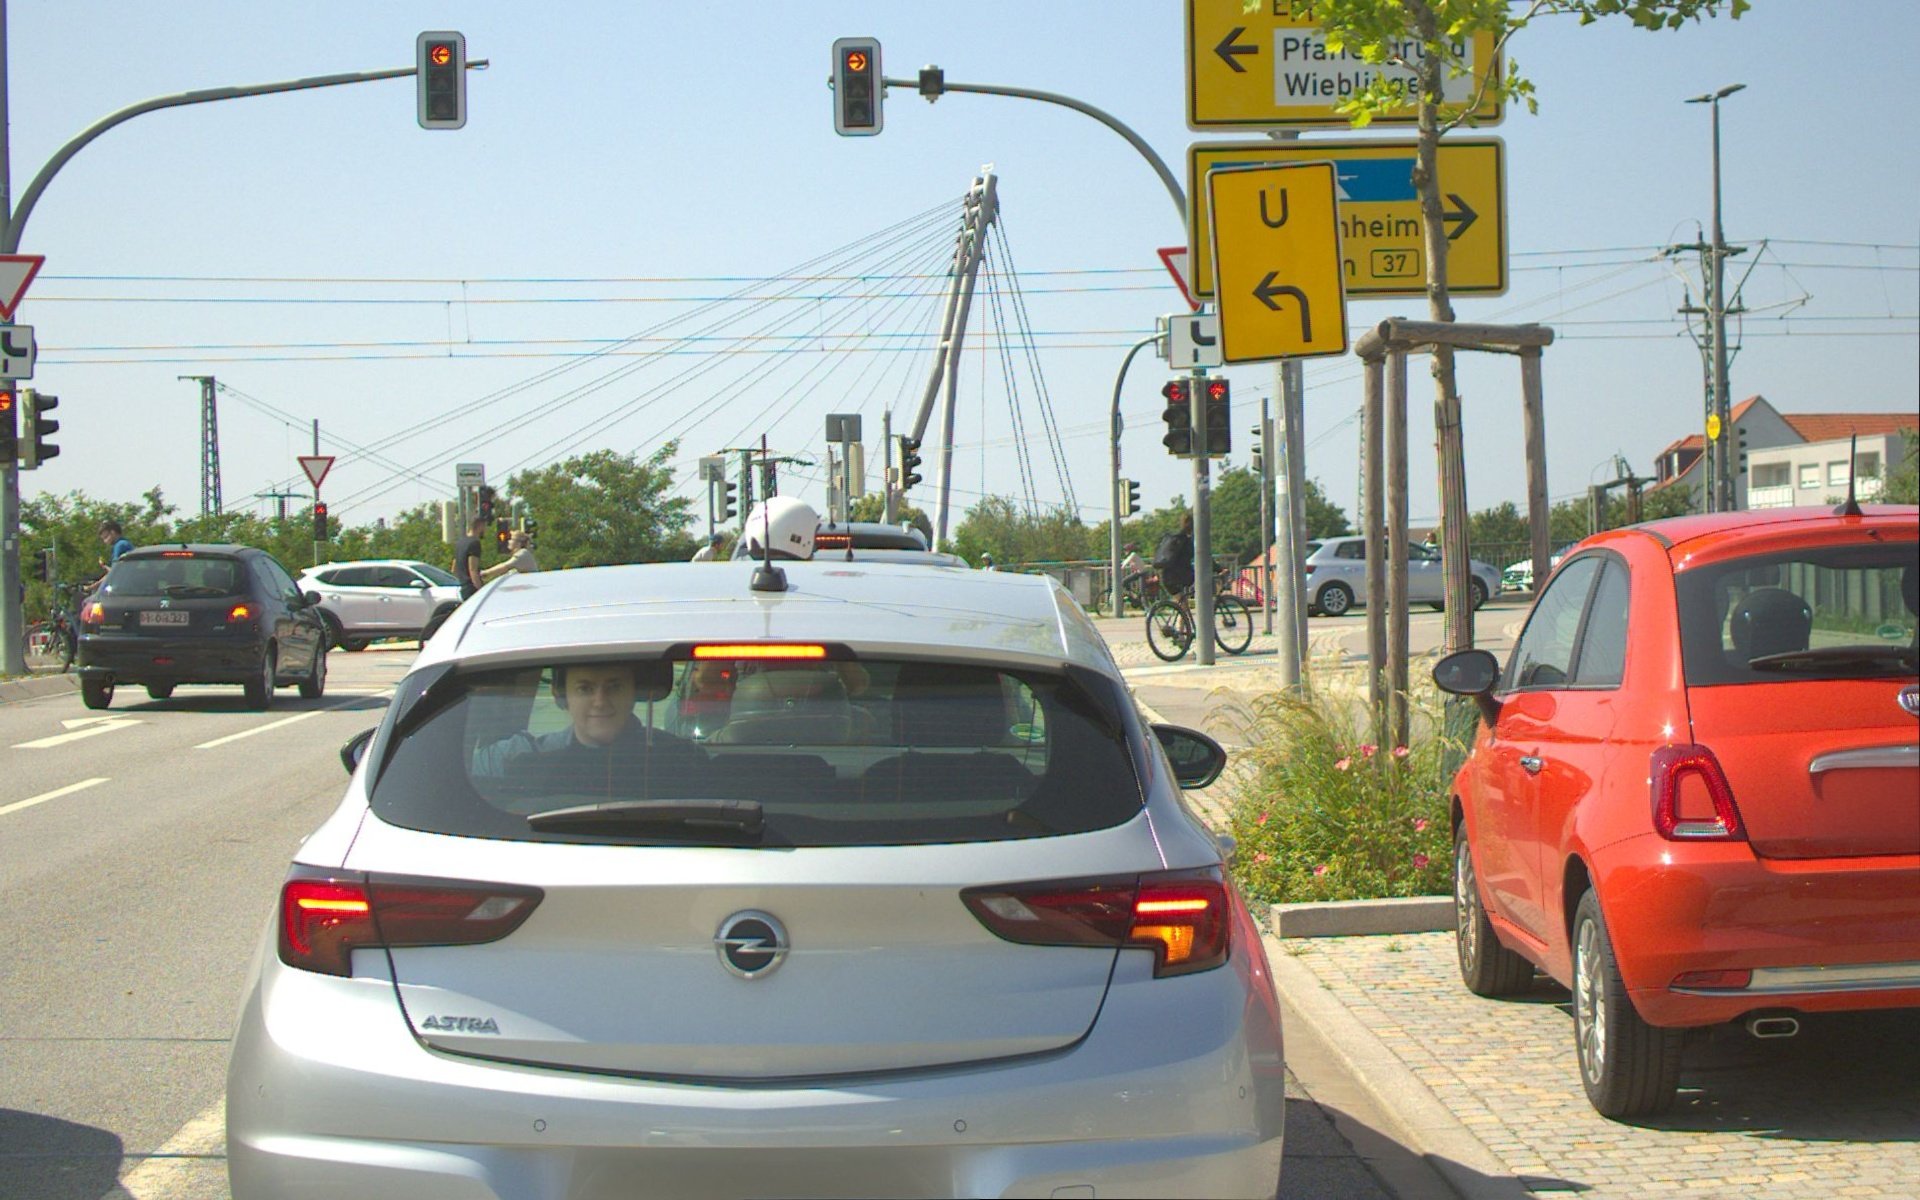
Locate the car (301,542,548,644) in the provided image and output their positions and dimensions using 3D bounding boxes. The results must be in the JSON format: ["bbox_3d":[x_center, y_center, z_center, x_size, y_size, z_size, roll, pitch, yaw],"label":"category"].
[{"bbox_3d":[-9.819,-0.141,63.129,4.036,1.808,1.930,1,0,15],"label":"car"}]

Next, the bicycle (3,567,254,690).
[{"bbox_3d":[-9.230,0.312,38.220,2.524,1.130,0.728,-5,3,-2],"label":"bicycle"}]

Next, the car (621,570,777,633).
[{"bbox_3d":[-5.750,0.031,75.648,3.211,1.300,1.524,1,0,-12],"label":"car"}]

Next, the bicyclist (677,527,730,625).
[{"bbox_3d":[-4.260,-0.392,57.122,0.771,1.604,0.949,1,0,1],"label":"bicyclist"}]

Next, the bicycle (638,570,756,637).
[{"bbox_3d":[-4.366,0.056,57.139,1.866,1.064,0.578,1,0,4],"label":"bicycle"}]

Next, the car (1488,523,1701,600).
[{"bbox_3d":[14.247,-0.861,77.234,4.244,1.668,2.001,0,0,-18],"label":"car"}]

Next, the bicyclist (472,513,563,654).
[{"bbox_3d":[-5.025,-0.188,39.115,0.945,1.563,0.823,1,0,-3],"label":"bicyclist"}]

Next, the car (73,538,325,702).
[{"bbox_3d":[-6.784,0.166,30.917,1.587,1.390,3.340,0,0,-1],"label":"car"}]

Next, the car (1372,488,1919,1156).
[{"bbox_3d":[2.338,0.462,10.021,1.669,1.534,3.917,-2,1,-1],"label":"car"}]

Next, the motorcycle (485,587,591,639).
[{"bbox_3d":[-10.369,0.314,84.519,2.536,1.229,0.648,1,0,-1],"label":"motorcycle"}]

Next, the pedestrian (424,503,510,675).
[{"bbox_3d":[-5.397,-0.120,37.612,0.740,1.857,0.754,1,0,-22],"label":"pedestrian"}]

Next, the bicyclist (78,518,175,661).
[{"bbox_3d":[-9.254,-0.114,38.192,0.822,1.554,0.863,1,0,2],"label":"bicyclist"}]

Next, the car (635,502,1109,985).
[{"bbox_3d":[-0.353,0.503,14.007,1.634,1.668,3.745,1,0,-1],"label":"car"}]

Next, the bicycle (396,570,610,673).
[{"bbox_3d":[-5.186,0.241,39.098,2.357,1.123,0.677,1,0,-3],"label":"bicycle"}]

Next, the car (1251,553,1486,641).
[{"bbox_3d":[7.529,-0.059,63.538,3.973,1.546,1.676,-1,0,-10],"label":"car"}]

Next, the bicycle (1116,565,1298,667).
[{"bbox_3d":[2.874,0.178,39.933,2.080,1.174,0.555,0,0,-23],"label":"bicycle"}]

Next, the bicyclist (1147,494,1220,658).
[{"bbox_3d":[2.584,-0.274,39.812,0.594,1.881,0.637,1,0,-22],"label":"bicyclist"}]

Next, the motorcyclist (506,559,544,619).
[{"bbox_3d":[-10.700,-0.268,84.509,0.809,1.471,0.885,1,0,-1],"label":"motorcyclist"}]

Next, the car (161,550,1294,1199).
[{"bbox_3d":[-0.393,0.660,7.287,1.690,1.514,4.271,0,1,-1],"label":"car"}]
